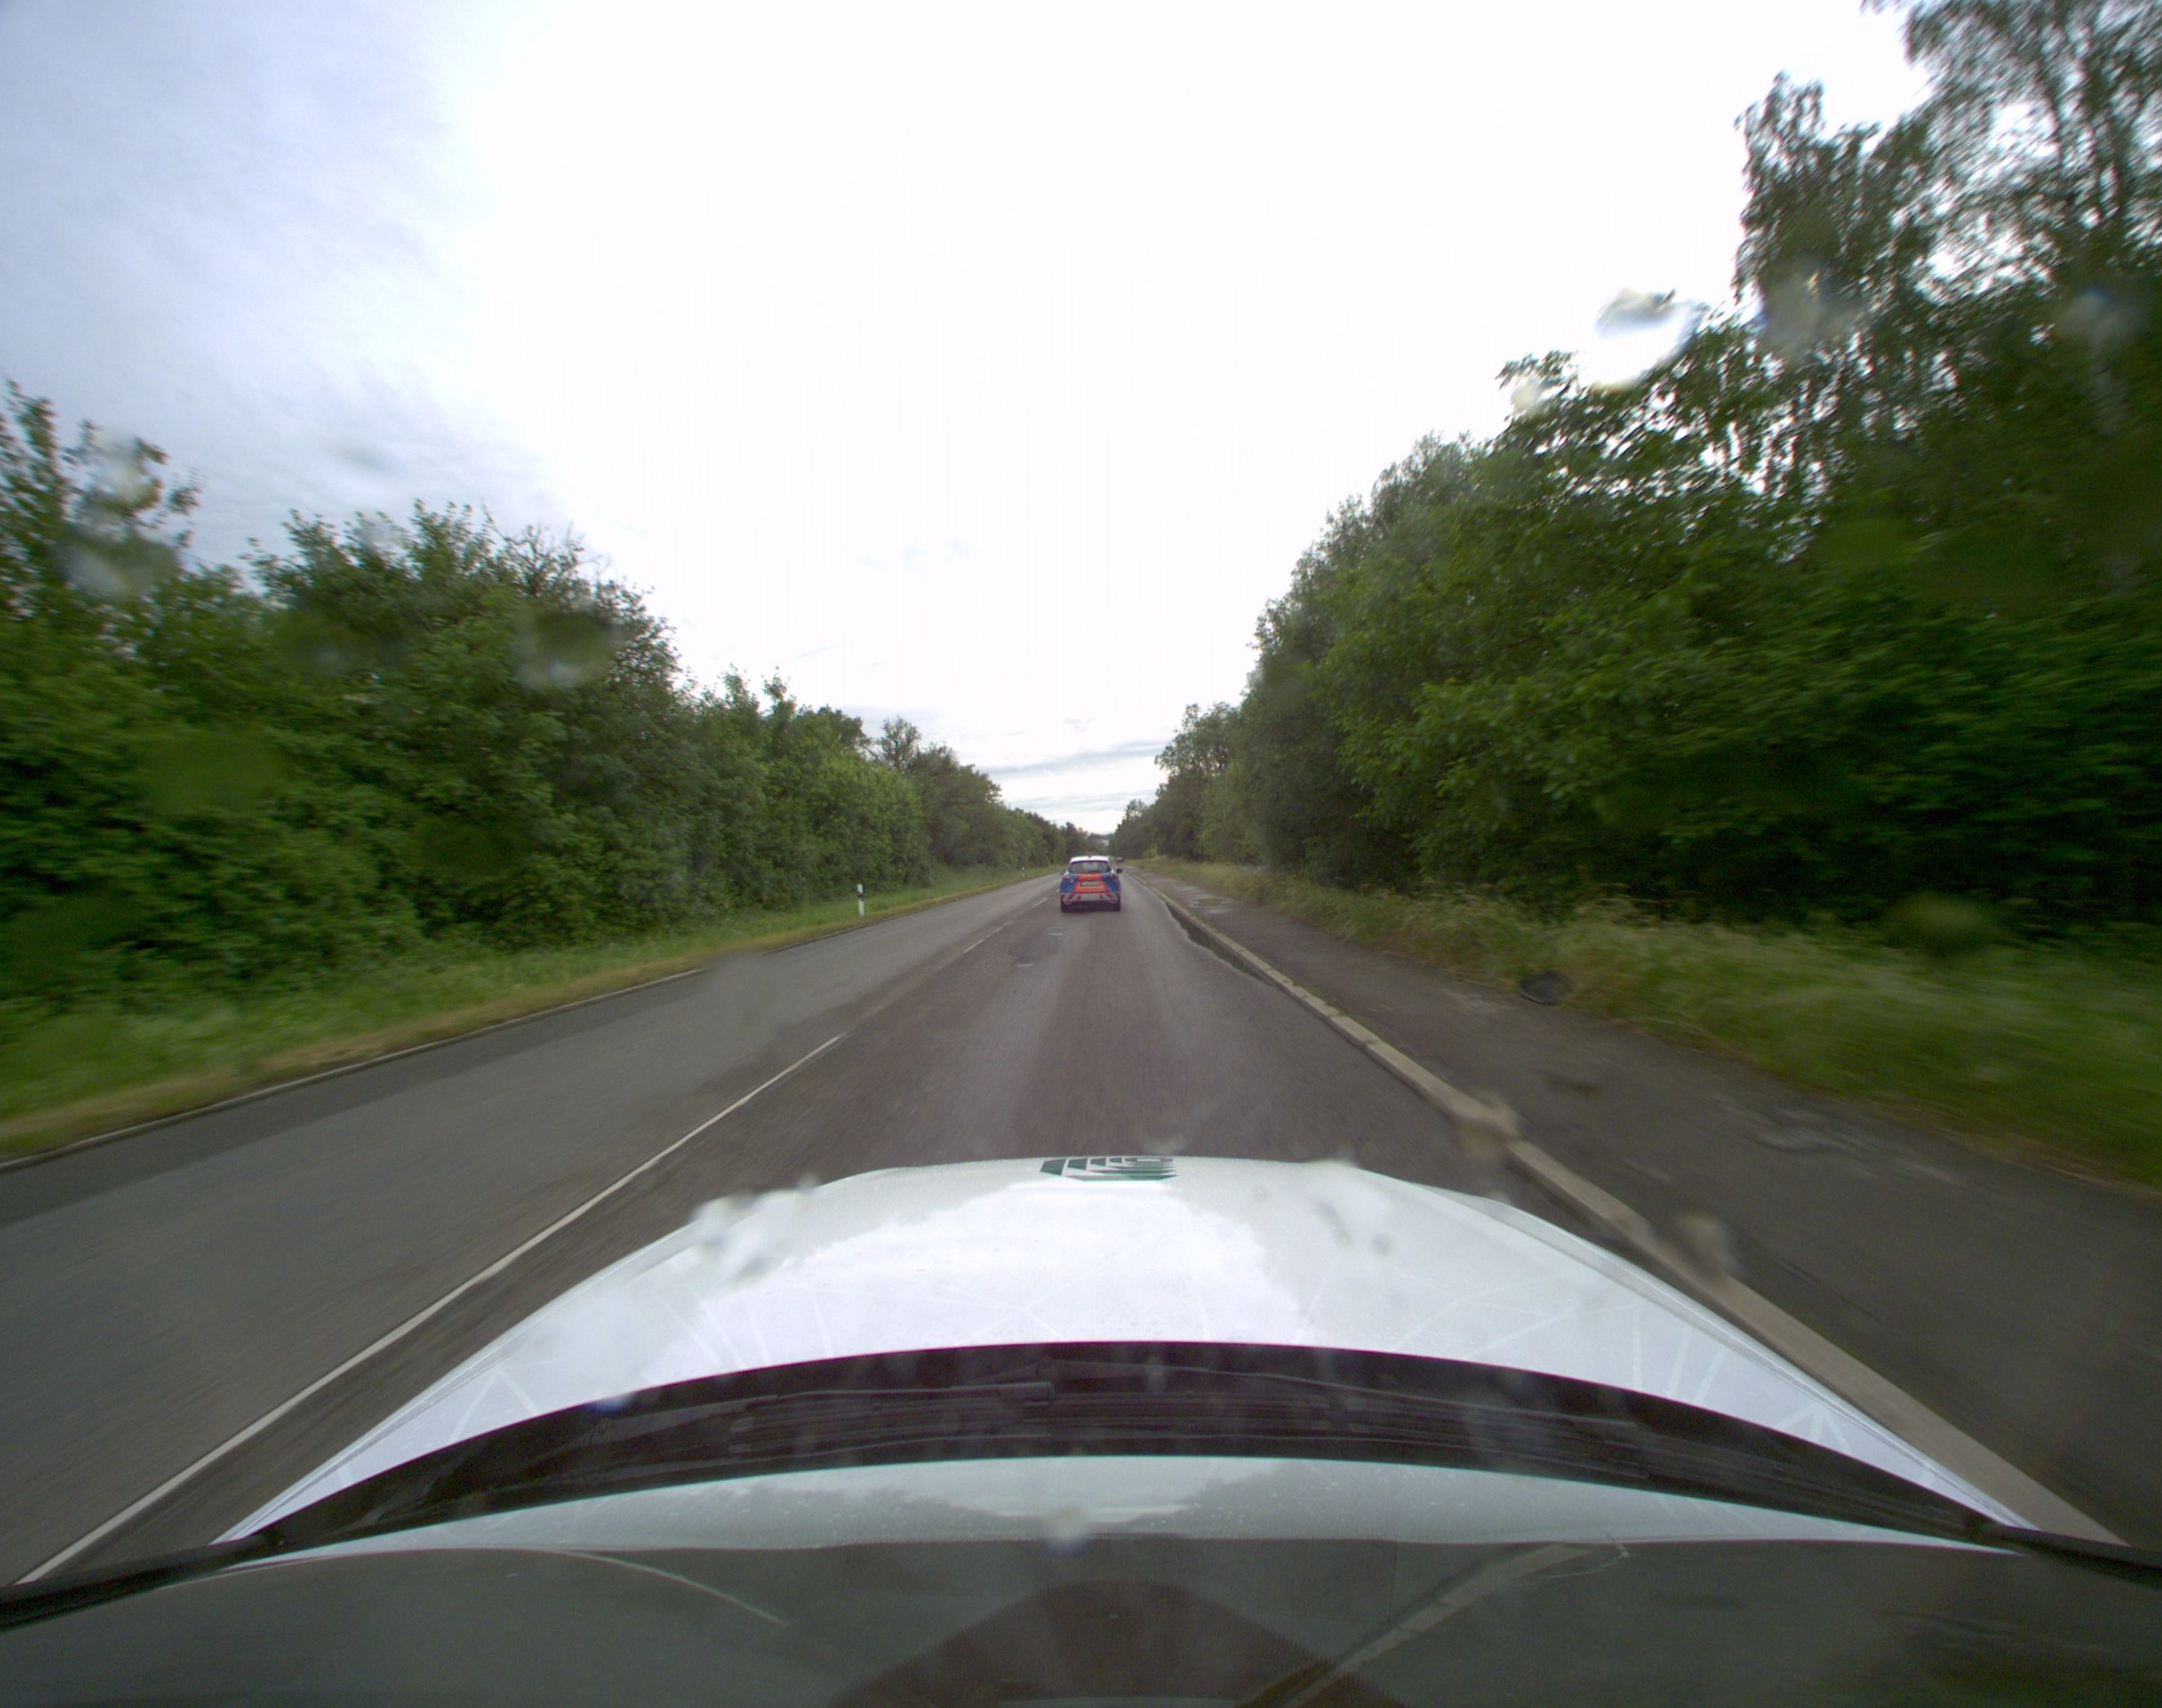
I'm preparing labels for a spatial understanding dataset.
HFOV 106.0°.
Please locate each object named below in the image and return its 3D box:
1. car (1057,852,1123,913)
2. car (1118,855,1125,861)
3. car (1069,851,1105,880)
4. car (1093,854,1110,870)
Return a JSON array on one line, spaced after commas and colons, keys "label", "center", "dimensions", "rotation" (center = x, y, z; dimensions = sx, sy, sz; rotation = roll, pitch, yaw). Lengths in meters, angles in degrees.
[{"label": "car", "center": [0.308, 0.769, 24.208], "dimensions": [1.745, 1.555, 3.794], "rotation": [-2, 1, 2]}, {"label": "car", "center": [11.256, 1.103, 227.665], "dimensions": [1.986, 1.376, 4.003], "rotation": [-4, 0, 2]}, {"label": "car", "center": [0.339, 0.561, 41.462], "dimensions": [1.592, 1.287, 3.478], "rotation": [-4, 0, 3]}, {"label": "car", "center": [2.695, 1.011, 105.103], "dimensions": [1.934, 1.723, 4.066], "rotation": [-4, 1, 2]}]
